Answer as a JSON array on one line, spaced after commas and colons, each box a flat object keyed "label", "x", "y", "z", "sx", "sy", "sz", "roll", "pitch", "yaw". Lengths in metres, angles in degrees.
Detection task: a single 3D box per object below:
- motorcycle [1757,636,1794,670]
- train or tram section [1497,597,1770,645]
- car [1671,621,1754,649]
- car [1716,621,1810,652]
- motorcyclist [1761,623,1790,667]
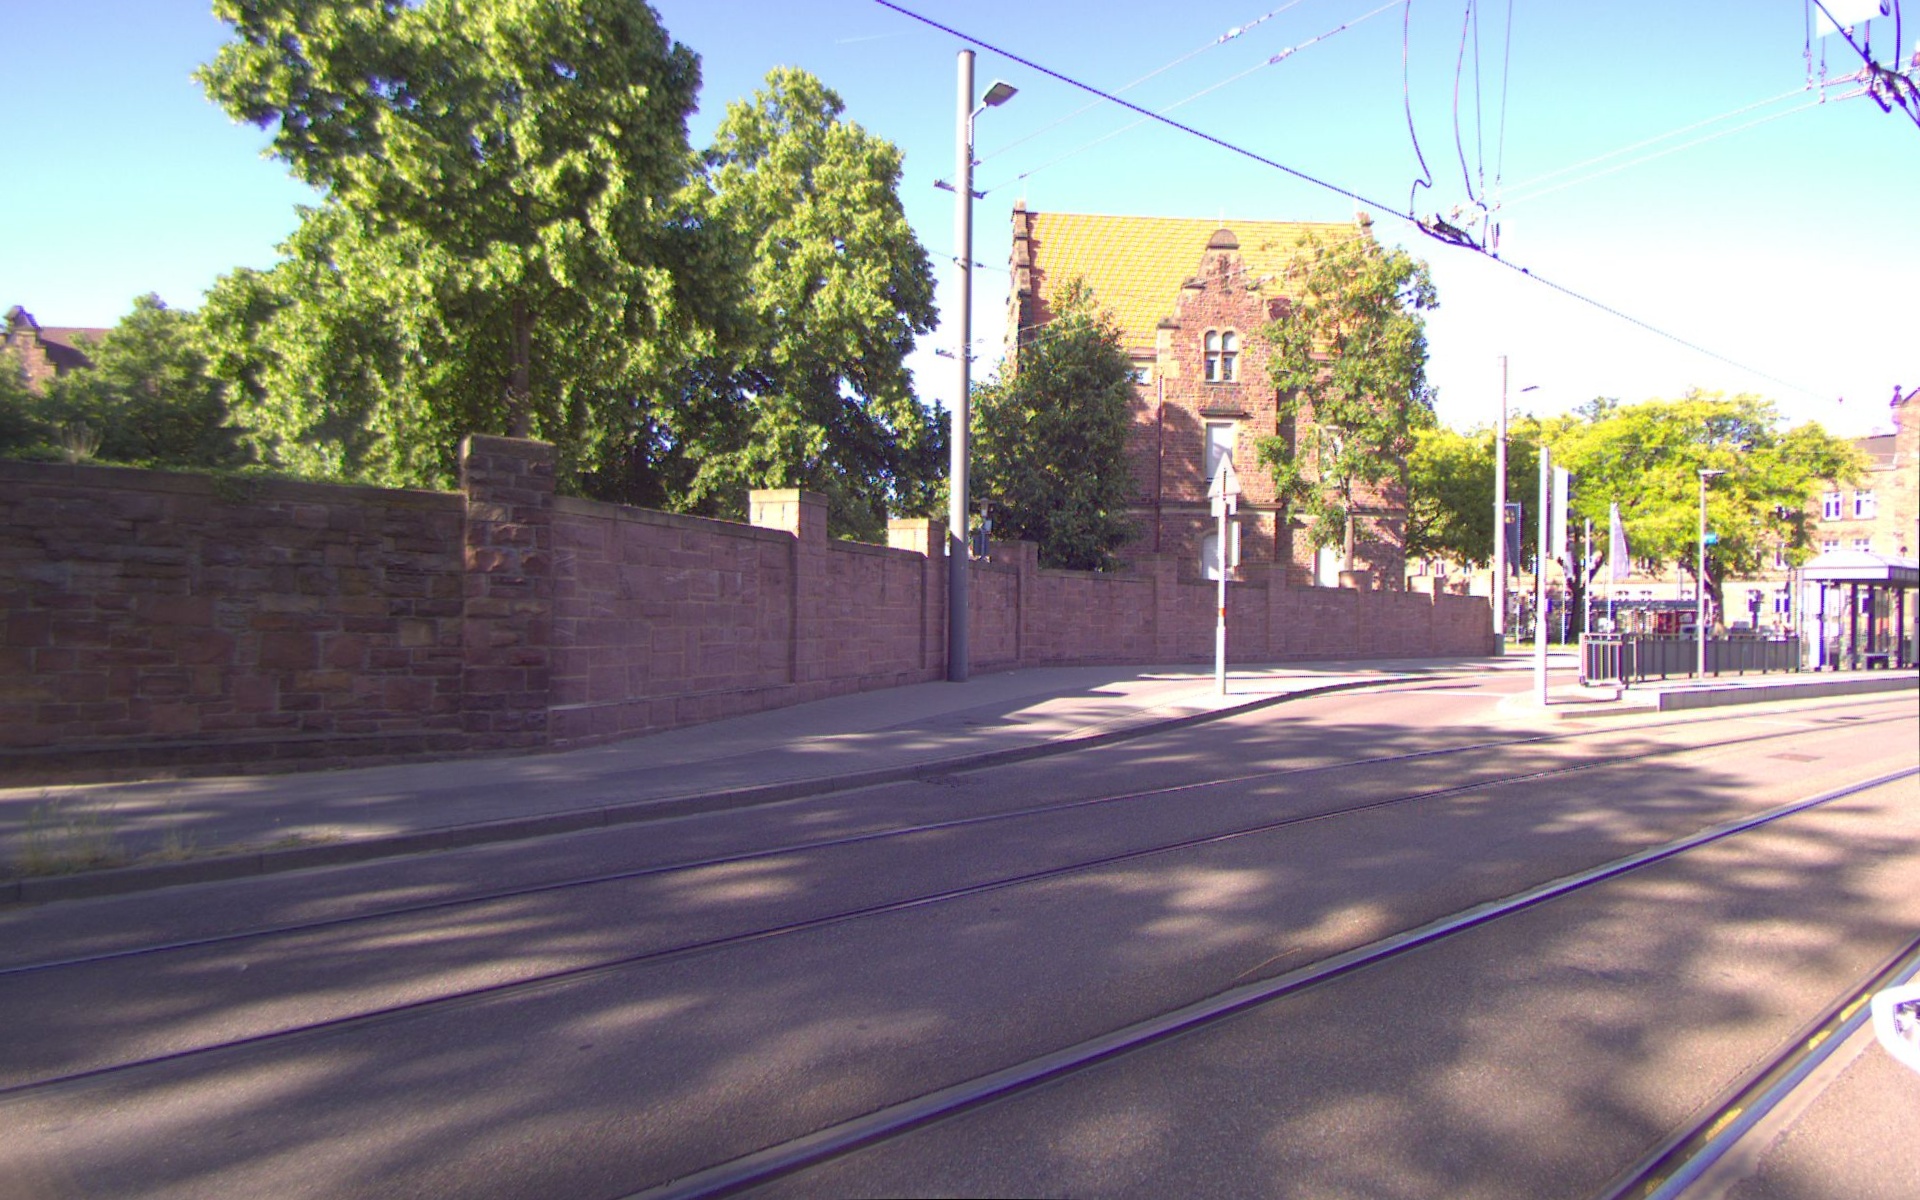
[{"label": "motorcycle", "x": 27.878, "y": 1.786, "z": 34.327, "sx": 1.841, "sy": 1.108, "sz": 0.604, "roll": 1, "pitch": 0, "yaw": -39}, {"label": "train or tram section", "x": 50.032, "y": 1.474, "z": 75.889, "sx": 3.312, "sy": 3.196, "sz": 17.280, "roll": 2, "pitch": -1, "yaw": -33}, {"label": "car", "x": 49.183, "y": 2.255, "z": 65.684, "sx": 1.798, "sy": 1.651, "sz": 3.964, "roll": 2, "pitch": 0, "yaw": -32}, {"label": "car", "x": 47.759, "y": 2.171, "z": 59.800, "sx": 1.798, "sy": 1.651, "sz": 3.964, "roll": 2, "pitch": 0, "yaw": -32}, {"label": "motorcyclist", "x": 27.821, "y": 1.520, "z": 34.274, "sx": 0.443, "sy": 1.460, "sz": 0.678, "roll": 1, "pitch": 0, "yaw": -39}]
